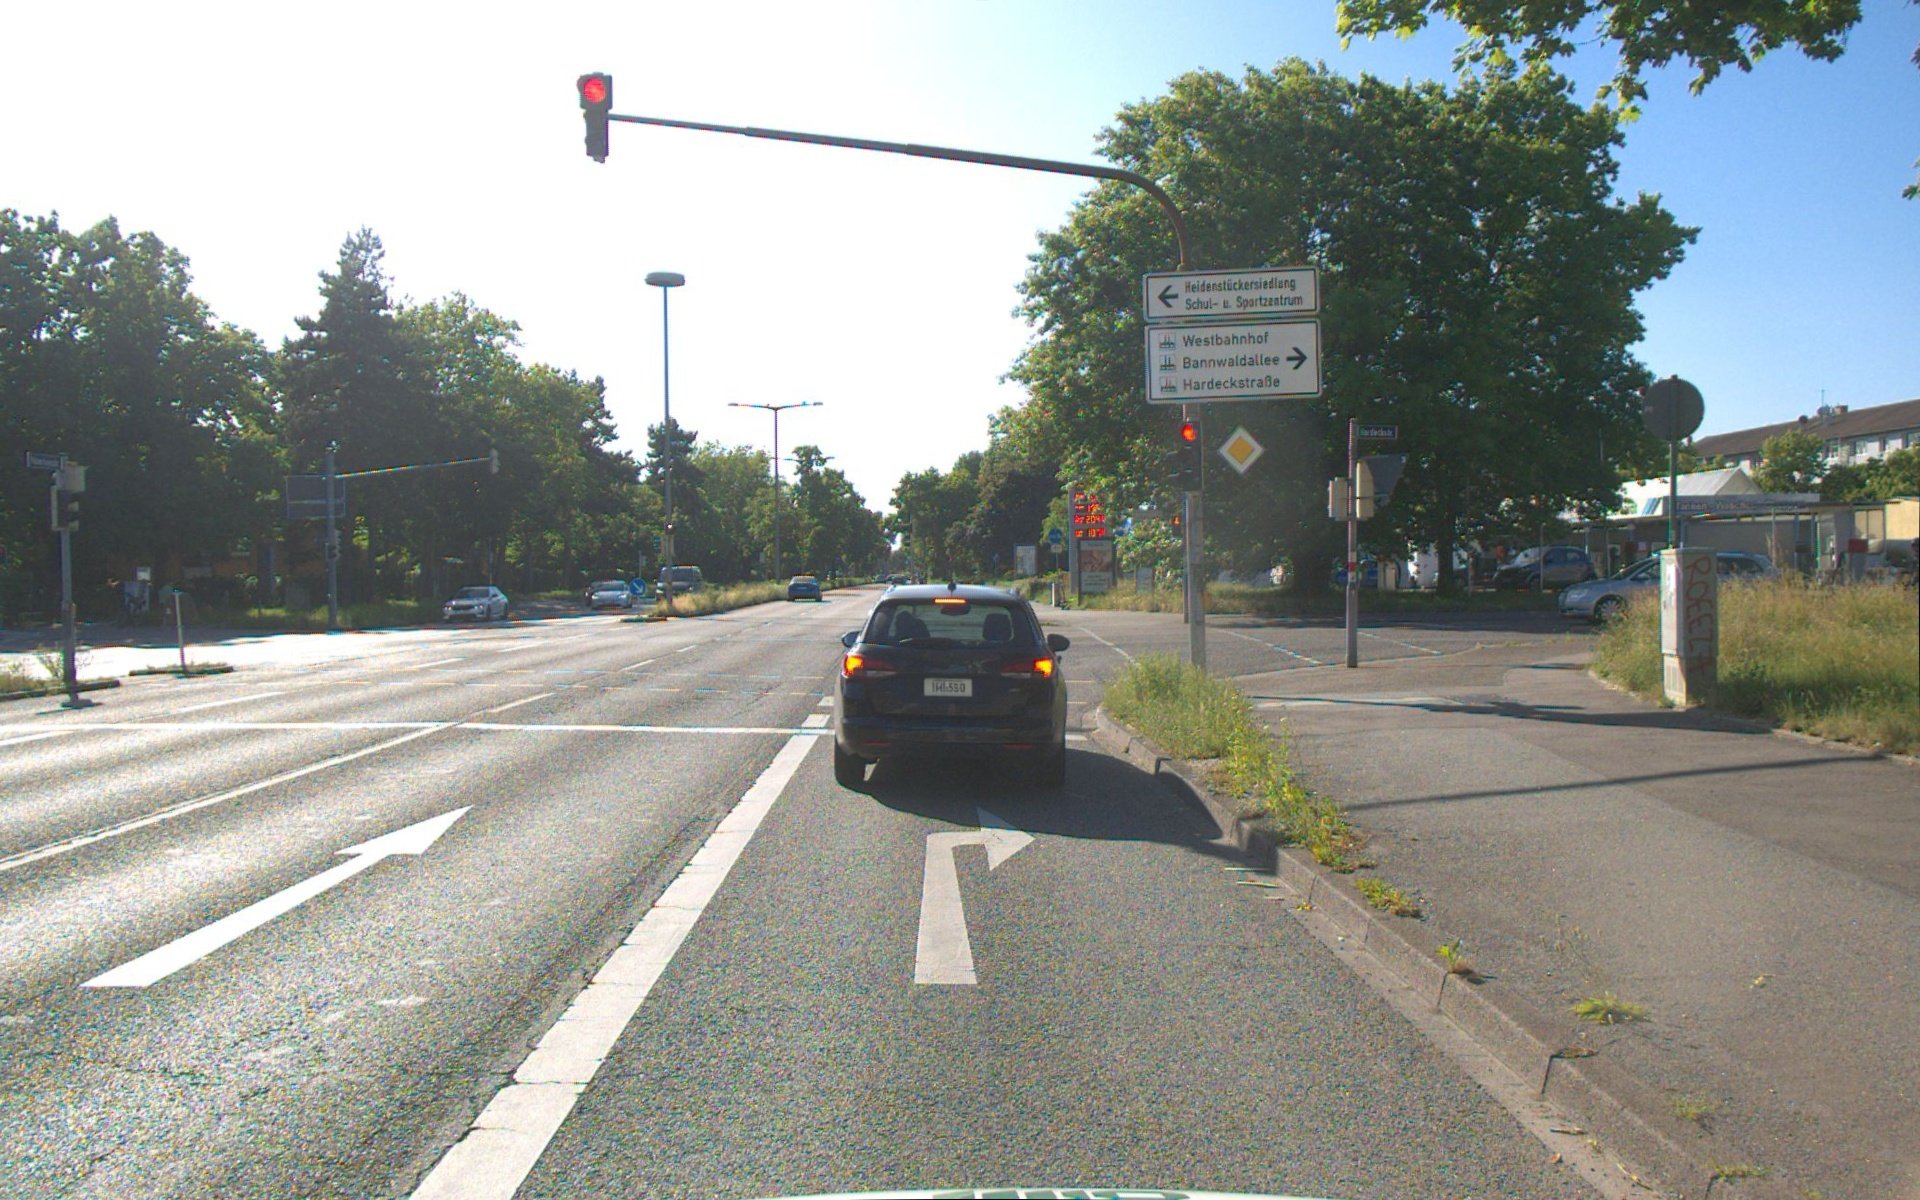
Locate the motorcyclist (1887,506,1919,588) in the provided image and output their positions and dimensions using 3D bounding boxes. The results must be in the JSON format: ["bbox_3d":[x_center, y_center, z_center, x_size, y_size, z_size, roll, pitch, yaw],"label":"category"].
[{"bbox_3d":[20.105,-1.107,34.796,0.842,1.709,0.835,1,0,15],"label":"motorcyclist"}]

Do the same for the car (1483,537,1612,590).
[{"bbox_3d":[19.484,-1.185,54.833,3.780,1.640,1.794,1,0,-21],"label":"car"}]

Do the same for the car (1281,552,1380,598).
[{"bbox_3d":[14.840,-0.997,66.220,3.668,1.714,1.689,1,0,-28],"label":"car"}]

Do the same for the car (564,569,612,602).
[{"bbox_3d":[-22.315,-0.902,99.267,1.953,1.780,4.000,-4,2,-1],"label":"car"}]

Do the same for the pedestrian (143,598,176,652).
[{"bbox_3d":[-28.178,0.881,58.244,0.828,1.867,0.550,-1,1,3],"label":"pedestrian"}]

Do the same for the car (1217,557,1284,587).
[{"bbox_3d":[17.388,-1.679,99.034,3.638,1.714,1.703,1,0,-4],"label":"car"}]

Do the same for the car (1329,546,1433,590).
[{"bbox_3d":[16.236,-1.208,63.757,3.801,1.590,1.784,1,0,-34],"label":"car"}]

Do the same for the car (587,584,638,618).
[{"bbox_3d":[-18.080,0.047,86.273,1.826,1.713,3.999,1,0,-1],"label":"car"}]

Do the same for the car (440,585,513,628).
[{"bbox_3d":[-20.132,0.267,69.008,1.826,1.713,4.259,1,0,-1],"label":"car"}]

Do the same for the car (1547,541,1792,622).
[{"bbox_3d":[15.229,-0.381,35.738,4.519,1.601,2.002,-1,0,10],"label":"car"}]

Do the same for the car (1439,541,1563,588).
[{"bbox_3d":[18.589,-1.193,56.825,3.780,1.508,1.794,1,0,-21],"label":"car"}]

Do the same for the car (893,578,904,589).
[{"bbox_3d":[-9.392,-2.479,251.481,1.698,1.612,3.838,1,0,-2],"label":"car"}]

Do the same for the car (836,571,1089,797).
[{"bbox_3d":[-0.025,0.563,13.200,1.720,1.535,3.807,0,0,-1],"label":"car"}]

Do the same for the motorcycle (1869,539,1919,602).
[{"bbox_3d":[20.652,-0.590,34.645,2.667,1.293,0.835,1,0,15],"label":"motorcycle"}]

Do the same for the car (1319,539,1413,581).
[{"bbox_3d":[17.711,-1.747,72.228,3.638,1.714,1.703,1,0,-4],"label":"car"}]

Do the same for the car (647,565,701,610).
[{"bbox_3d":[-13.674,-0.591,79.300,1.953,2.049,3.999,1,0,-1],"label":"car"}]

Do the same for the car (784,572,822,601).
[{"bbox_3d":[-8.924,-0.744,94.273,1.850,1.579,3.999,-1,0,-1],"label":"car"}]
